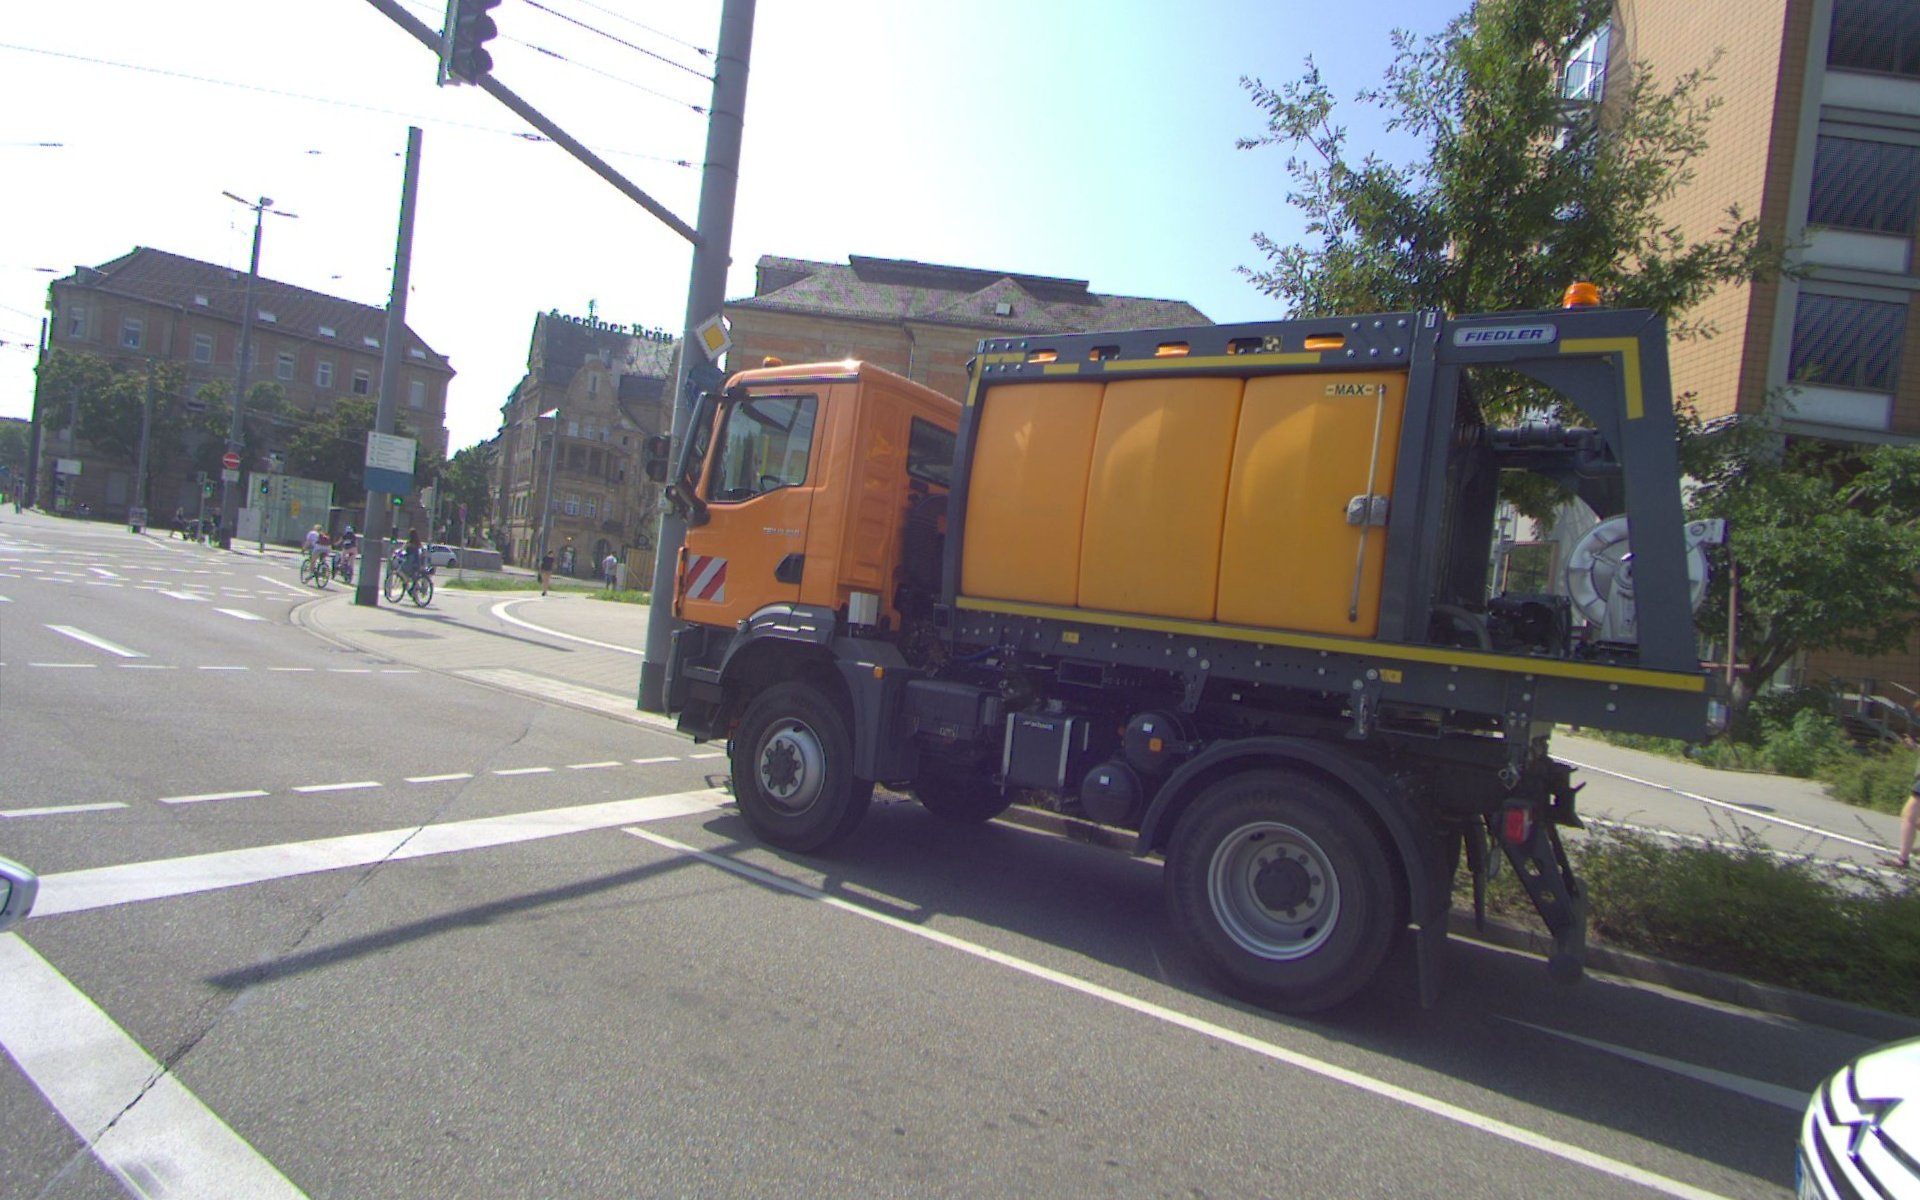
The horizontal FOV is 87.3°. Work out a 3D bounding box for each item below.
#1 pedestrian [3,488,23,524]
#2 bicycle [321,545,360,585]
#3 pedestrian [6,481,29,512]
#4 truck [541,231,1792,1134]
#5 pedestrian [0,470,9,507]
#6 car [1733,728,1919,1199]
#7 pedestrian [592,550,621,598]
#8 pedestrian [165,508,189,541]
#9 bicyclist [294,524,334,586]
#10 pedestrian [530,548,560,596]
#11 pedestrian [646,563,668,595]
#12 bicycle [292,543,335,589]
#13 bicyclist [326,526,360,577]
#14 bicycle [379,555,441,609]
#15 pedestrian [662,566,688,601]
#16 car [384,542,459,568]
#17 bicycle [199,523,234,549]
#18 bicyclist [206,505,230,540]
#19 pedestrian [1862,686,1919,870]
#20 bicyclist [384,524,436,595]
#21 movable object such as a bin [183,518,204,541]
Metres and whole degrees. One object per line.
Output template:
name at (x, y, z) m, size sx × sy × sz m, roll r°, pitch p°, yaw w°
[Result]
pedestrian at (-85.334, -8.463, 90.653) m, size 0.960 × 3.055 × 0.983 m, roll 7°, pitch 1°, yaw 37°
bicycle at (-18.412, -1.047, 29.901) m, size 1.632 × 1.068 × 0.535 m, roll 7°, pitch 1°, yaw 45°
pedestrian at (-52.785, -5.786, 56.343) m, size 0.563 × 1.623 × 0.701 m, roll 7°, pitch 1°, yaw 25°
truck at (0.611, 0.085, 6.449) m, size 6.751 × 3.172 × 2.495 m, roll 7°, pitch -1°, yaw 34°
pedestrian at (-82.250, -9.597, 86.032) m, size 0.960 × 3.055 × 0.983 m, roll 7°, pitch 1°, yaw 38°
car at (3.652, 1.234, 0.830) m, size 4.535 × 1.446 × 1.770 m, roll 7°, pitch 0°, yaw 34°
pedestrian at (-13.601, -0.978, 38.725) m, size 0.808 × 1.746 × 0.546 m, roll 7°, pitch 1°, yaw -9°
pedestrian at (-40.145, -3.847, 51.576) m, size 0.846 × 1.564 × 0.522 m, roll 6°, pitch 1°, yaw -42°
bicyclist at (-17.079, -1.181, 26.584) m, size 0.702 × 1.537 × 0.626 m, roll 7°, pitch 1°, yaw 44°
pedestrian at (-14.726, -1.001, 35.737) m, size 0.727 × 1.595 × 0.787 m, roll 6°, pitch 1°, yaw -14°
pedestrian at (-12.488, -0.863, 41.493) m, size 0.659 × 1.229 × 0.523 m, roll 6°, pitch 1°, yaw -30°
bicycle at (-17.081, -0.895, 26.546) m, size 1.632 × 1.068 × 0.535 m, roll 7°, pitch 1°, yaw 45°
bicyclist at (-18.251, -1.427, 29.760) m, size 0.882 × 1.410 × 0.529 m, roll 7°, pitch 1°, yaw 44°
bicycle at (-12.872, -0.436, 23.530) m, size 1.795 × 1.068 × 0.492 m, roll 7°, pitch 1°, yaw 37°
pedestrian at (-12.251, -0.695, 43.253) m, size 0.679 × 1.417 × 0.767 m, roll 7°, pitch 1°, yaw 7°
car at (-33.150, -2.774, 62.066) m, size 1.962 × 1.103 × 4.002 m, roll 7°, pitch 0°, yaw 10°
bicycle at (-35.749, -3.060, 48.372) m, size 1.623 × 1.068 × 0.470 m, roll 7°, pitch 1°, yaw 22°
bicyclist at (-35.679, -3.730, 48.373) m, size 0.511 × 1.548 × 0.613 m, roll 7°, pitch 1°, yaw 18°
pedestrian at (9.488, 1.749, 9.786) m, size 0.792 × 1.720 × 0.671 m, roll 7°, pitch 1°, yaw 32°
bicyclist at (-12.867, -0.948, 23.540) m, size 0.653 × 1.537 × 0.734 m, roll 7°, pitch 1°, yaw 36°
movable object such as a bin at (-39.364, -3.617, 51.668) m, size 0.808 × 1.091 × 0.506 m, roll 6°, pitch 1°, yaw -39°
